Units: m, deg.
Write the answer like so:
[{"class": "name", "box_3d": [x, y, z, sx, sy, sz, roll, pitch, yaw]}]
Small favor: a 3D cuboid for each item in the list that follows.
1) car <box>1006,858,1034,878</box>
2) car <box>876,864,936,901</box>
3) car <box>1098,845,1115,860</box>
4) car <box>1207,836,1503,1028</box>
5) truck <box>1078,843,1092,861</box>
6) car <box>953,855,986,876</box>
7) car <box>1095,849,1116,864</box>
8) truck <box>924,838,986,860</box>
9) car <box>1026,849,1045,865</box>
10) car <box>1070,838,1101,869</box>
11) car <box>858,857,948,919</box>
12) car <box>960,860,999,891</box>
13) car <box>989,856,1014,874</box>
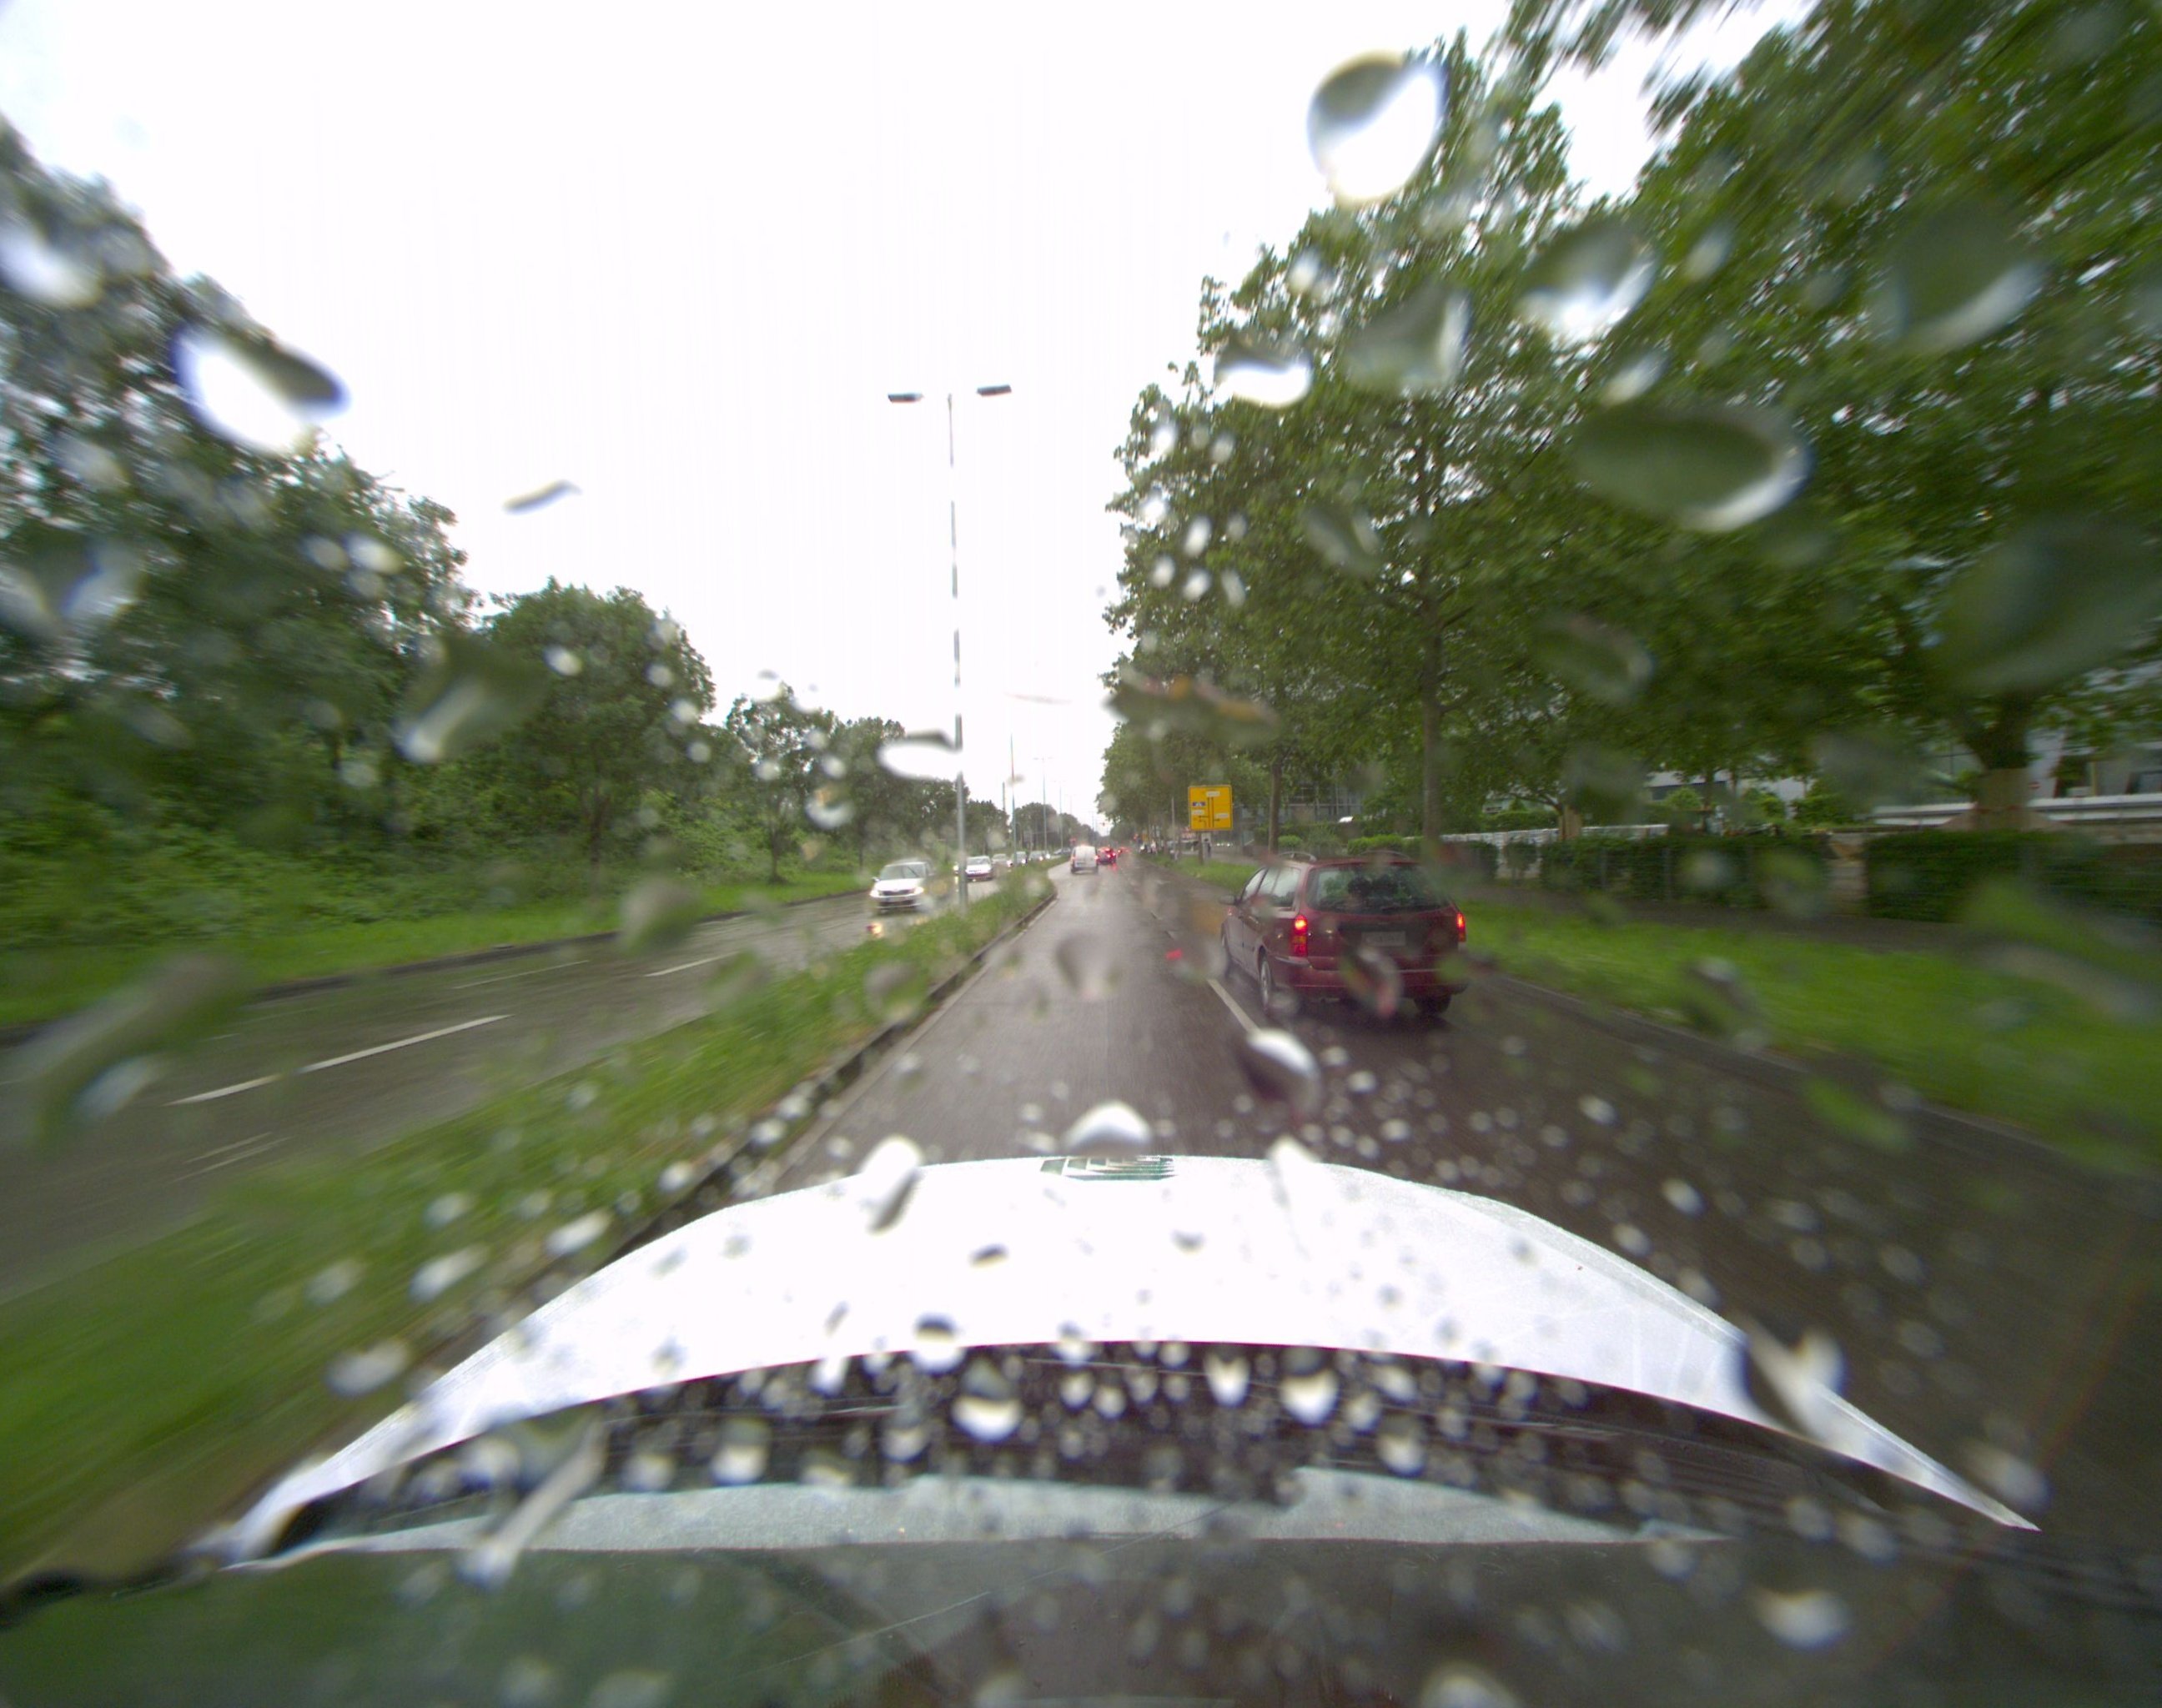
[{"class": "car", "box_3d": [-5.617, 1.289, 75.465, 1.901, 1.574, 4.711, -5, 0, 2]}, {"class": "car", "box_3d": [-9.486, 1.493, 44.497, 1.986, 1.687, 4.711, -4, 0, 2]}, {"class": "car", "box_3d": [2.748, -0.213, 88.678, 1.703, 1.549, 4.000, -1, 1, 0]}, {"class": "car", "box_3d": [2.558, 0.638, 8.718, 1.833, 1.536, 4.112, -1, 0, 1]}, {"class": "truck", "box_3d": [0.548, -0.285, 110.607, 1.751, 2.466, 4.000, -1, 0, 0]}, {"class": "car", "box_3d": [-8.873, 0.867, 65.001, 1.828, 1.502, 4.442, -4, 0, 2]}, {"class": "car", "box_3d": [2.442, 0.231, 82.459, 1.987, 1.452, 4.000, -1, 0, 0]}, {"class": "truck", "box_3d": [-20.977, -0.784, 136.302, 10.184, 3.452, 2.629, 0, -2, -35]}, {"class": "car", "box_3d": [-5.240, 0.274, 93.577, 1.817, 1.574, 4.363, 1, 3, 2]}, {"class": "car", "box_3d": [0.321, -0.009, 55.135, 1.987, 2.014, 3.999, -1, -1, 0]}, {"class": "car", "box_3d": [-5.336, 0.962, 24.955, 1.894, 1.613, 4.108, -5, 0, -2]}, {"class": "car", "box_3d": [-6.072, 1.245, 49.182, 1.904, 1.574, 4.703, -4, 0, -3]}, {"class": "car", "box_3d": [-8.332, 1.127, 85.856, 1.901, 1.574, 4.711, -5, 0, 2]}]
